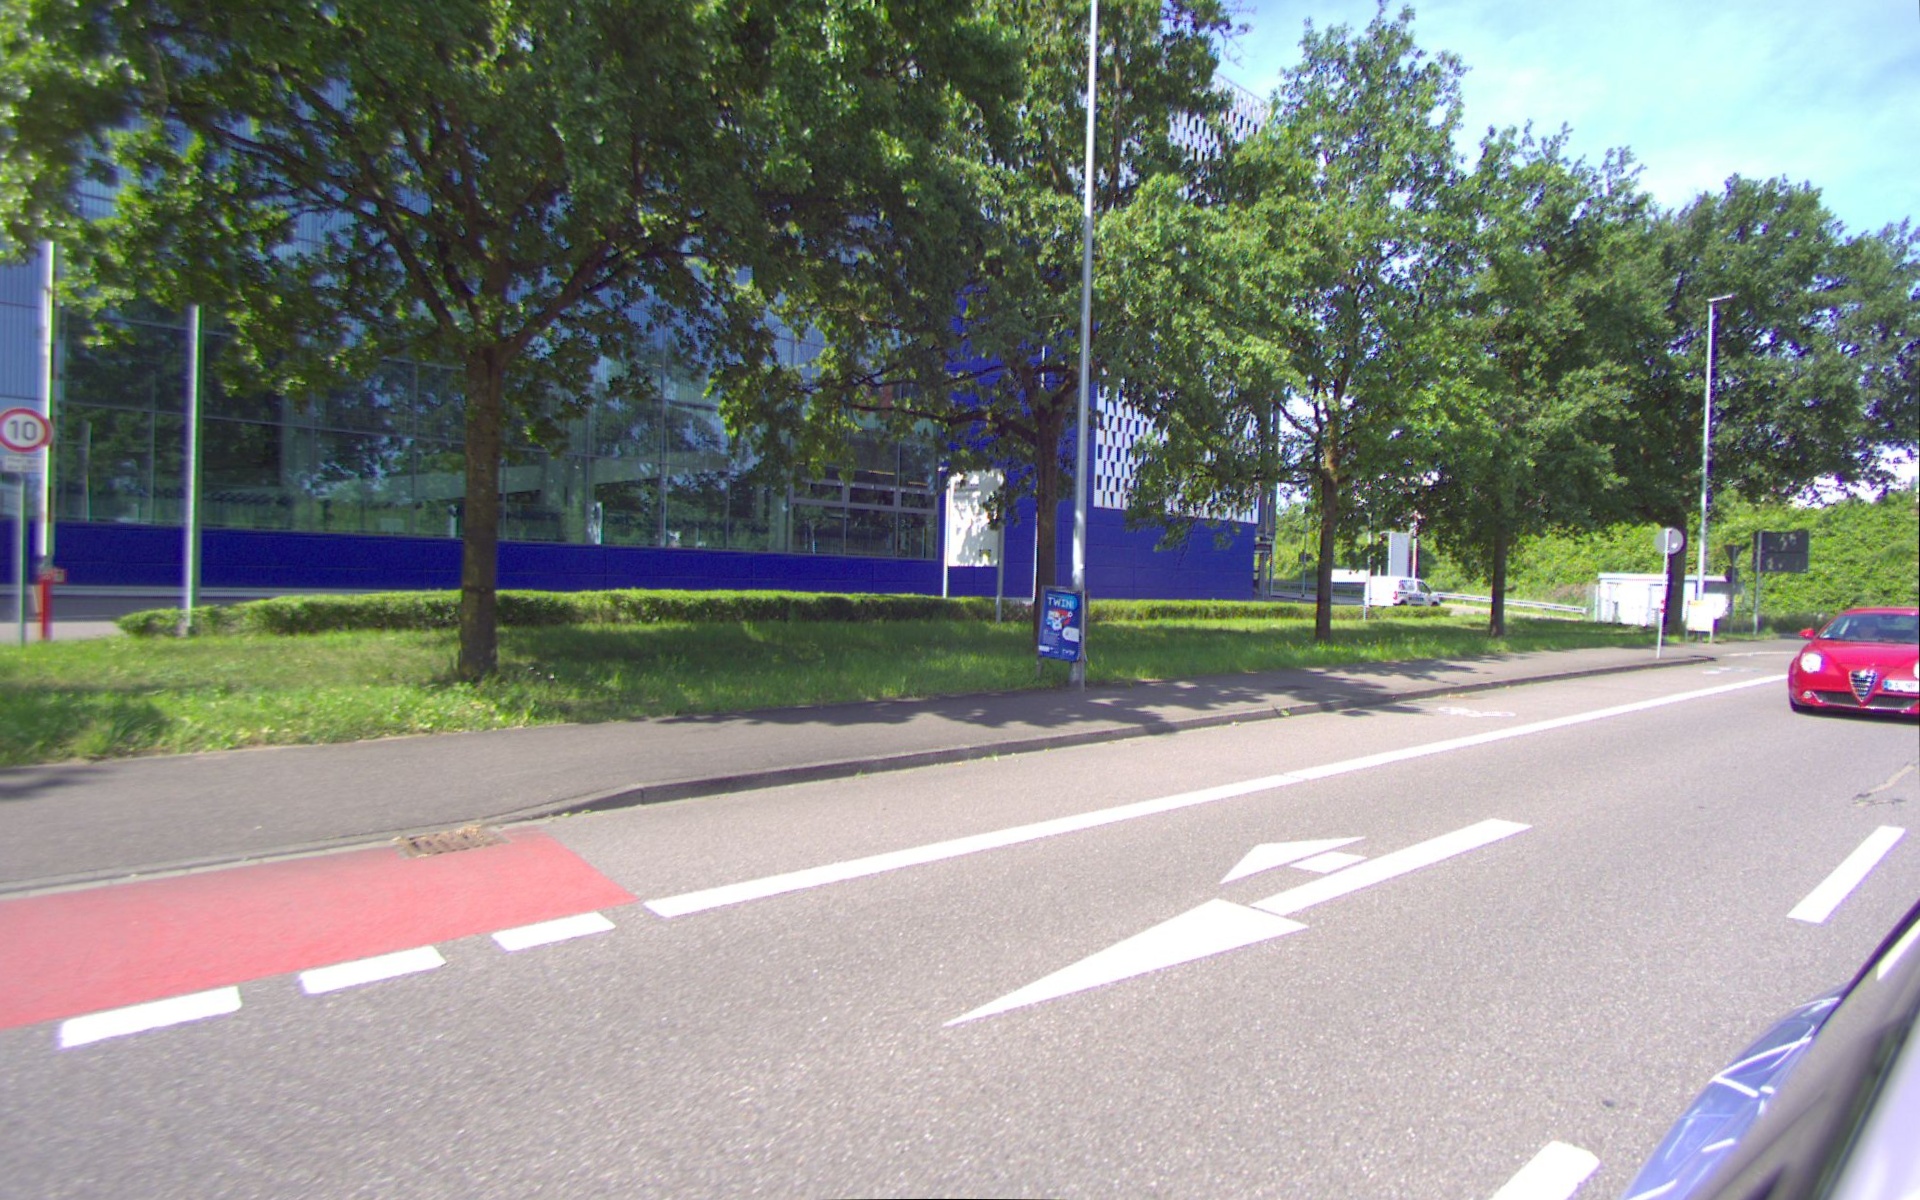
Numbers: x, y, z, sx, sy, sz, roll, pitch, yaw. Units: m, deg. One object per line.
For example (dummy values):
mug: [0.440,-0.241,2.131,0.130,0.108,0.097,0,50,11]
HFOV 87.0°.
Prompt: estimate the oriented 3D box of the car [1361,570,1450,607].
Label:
car: [21.166,-0.517,48.026,4.220,1.660,1.857,0,0,-33]

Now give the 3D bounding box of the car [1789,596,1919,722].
car: [12.784,0.700,13.647,3.909,1.472,1.797,0,1,-40]
